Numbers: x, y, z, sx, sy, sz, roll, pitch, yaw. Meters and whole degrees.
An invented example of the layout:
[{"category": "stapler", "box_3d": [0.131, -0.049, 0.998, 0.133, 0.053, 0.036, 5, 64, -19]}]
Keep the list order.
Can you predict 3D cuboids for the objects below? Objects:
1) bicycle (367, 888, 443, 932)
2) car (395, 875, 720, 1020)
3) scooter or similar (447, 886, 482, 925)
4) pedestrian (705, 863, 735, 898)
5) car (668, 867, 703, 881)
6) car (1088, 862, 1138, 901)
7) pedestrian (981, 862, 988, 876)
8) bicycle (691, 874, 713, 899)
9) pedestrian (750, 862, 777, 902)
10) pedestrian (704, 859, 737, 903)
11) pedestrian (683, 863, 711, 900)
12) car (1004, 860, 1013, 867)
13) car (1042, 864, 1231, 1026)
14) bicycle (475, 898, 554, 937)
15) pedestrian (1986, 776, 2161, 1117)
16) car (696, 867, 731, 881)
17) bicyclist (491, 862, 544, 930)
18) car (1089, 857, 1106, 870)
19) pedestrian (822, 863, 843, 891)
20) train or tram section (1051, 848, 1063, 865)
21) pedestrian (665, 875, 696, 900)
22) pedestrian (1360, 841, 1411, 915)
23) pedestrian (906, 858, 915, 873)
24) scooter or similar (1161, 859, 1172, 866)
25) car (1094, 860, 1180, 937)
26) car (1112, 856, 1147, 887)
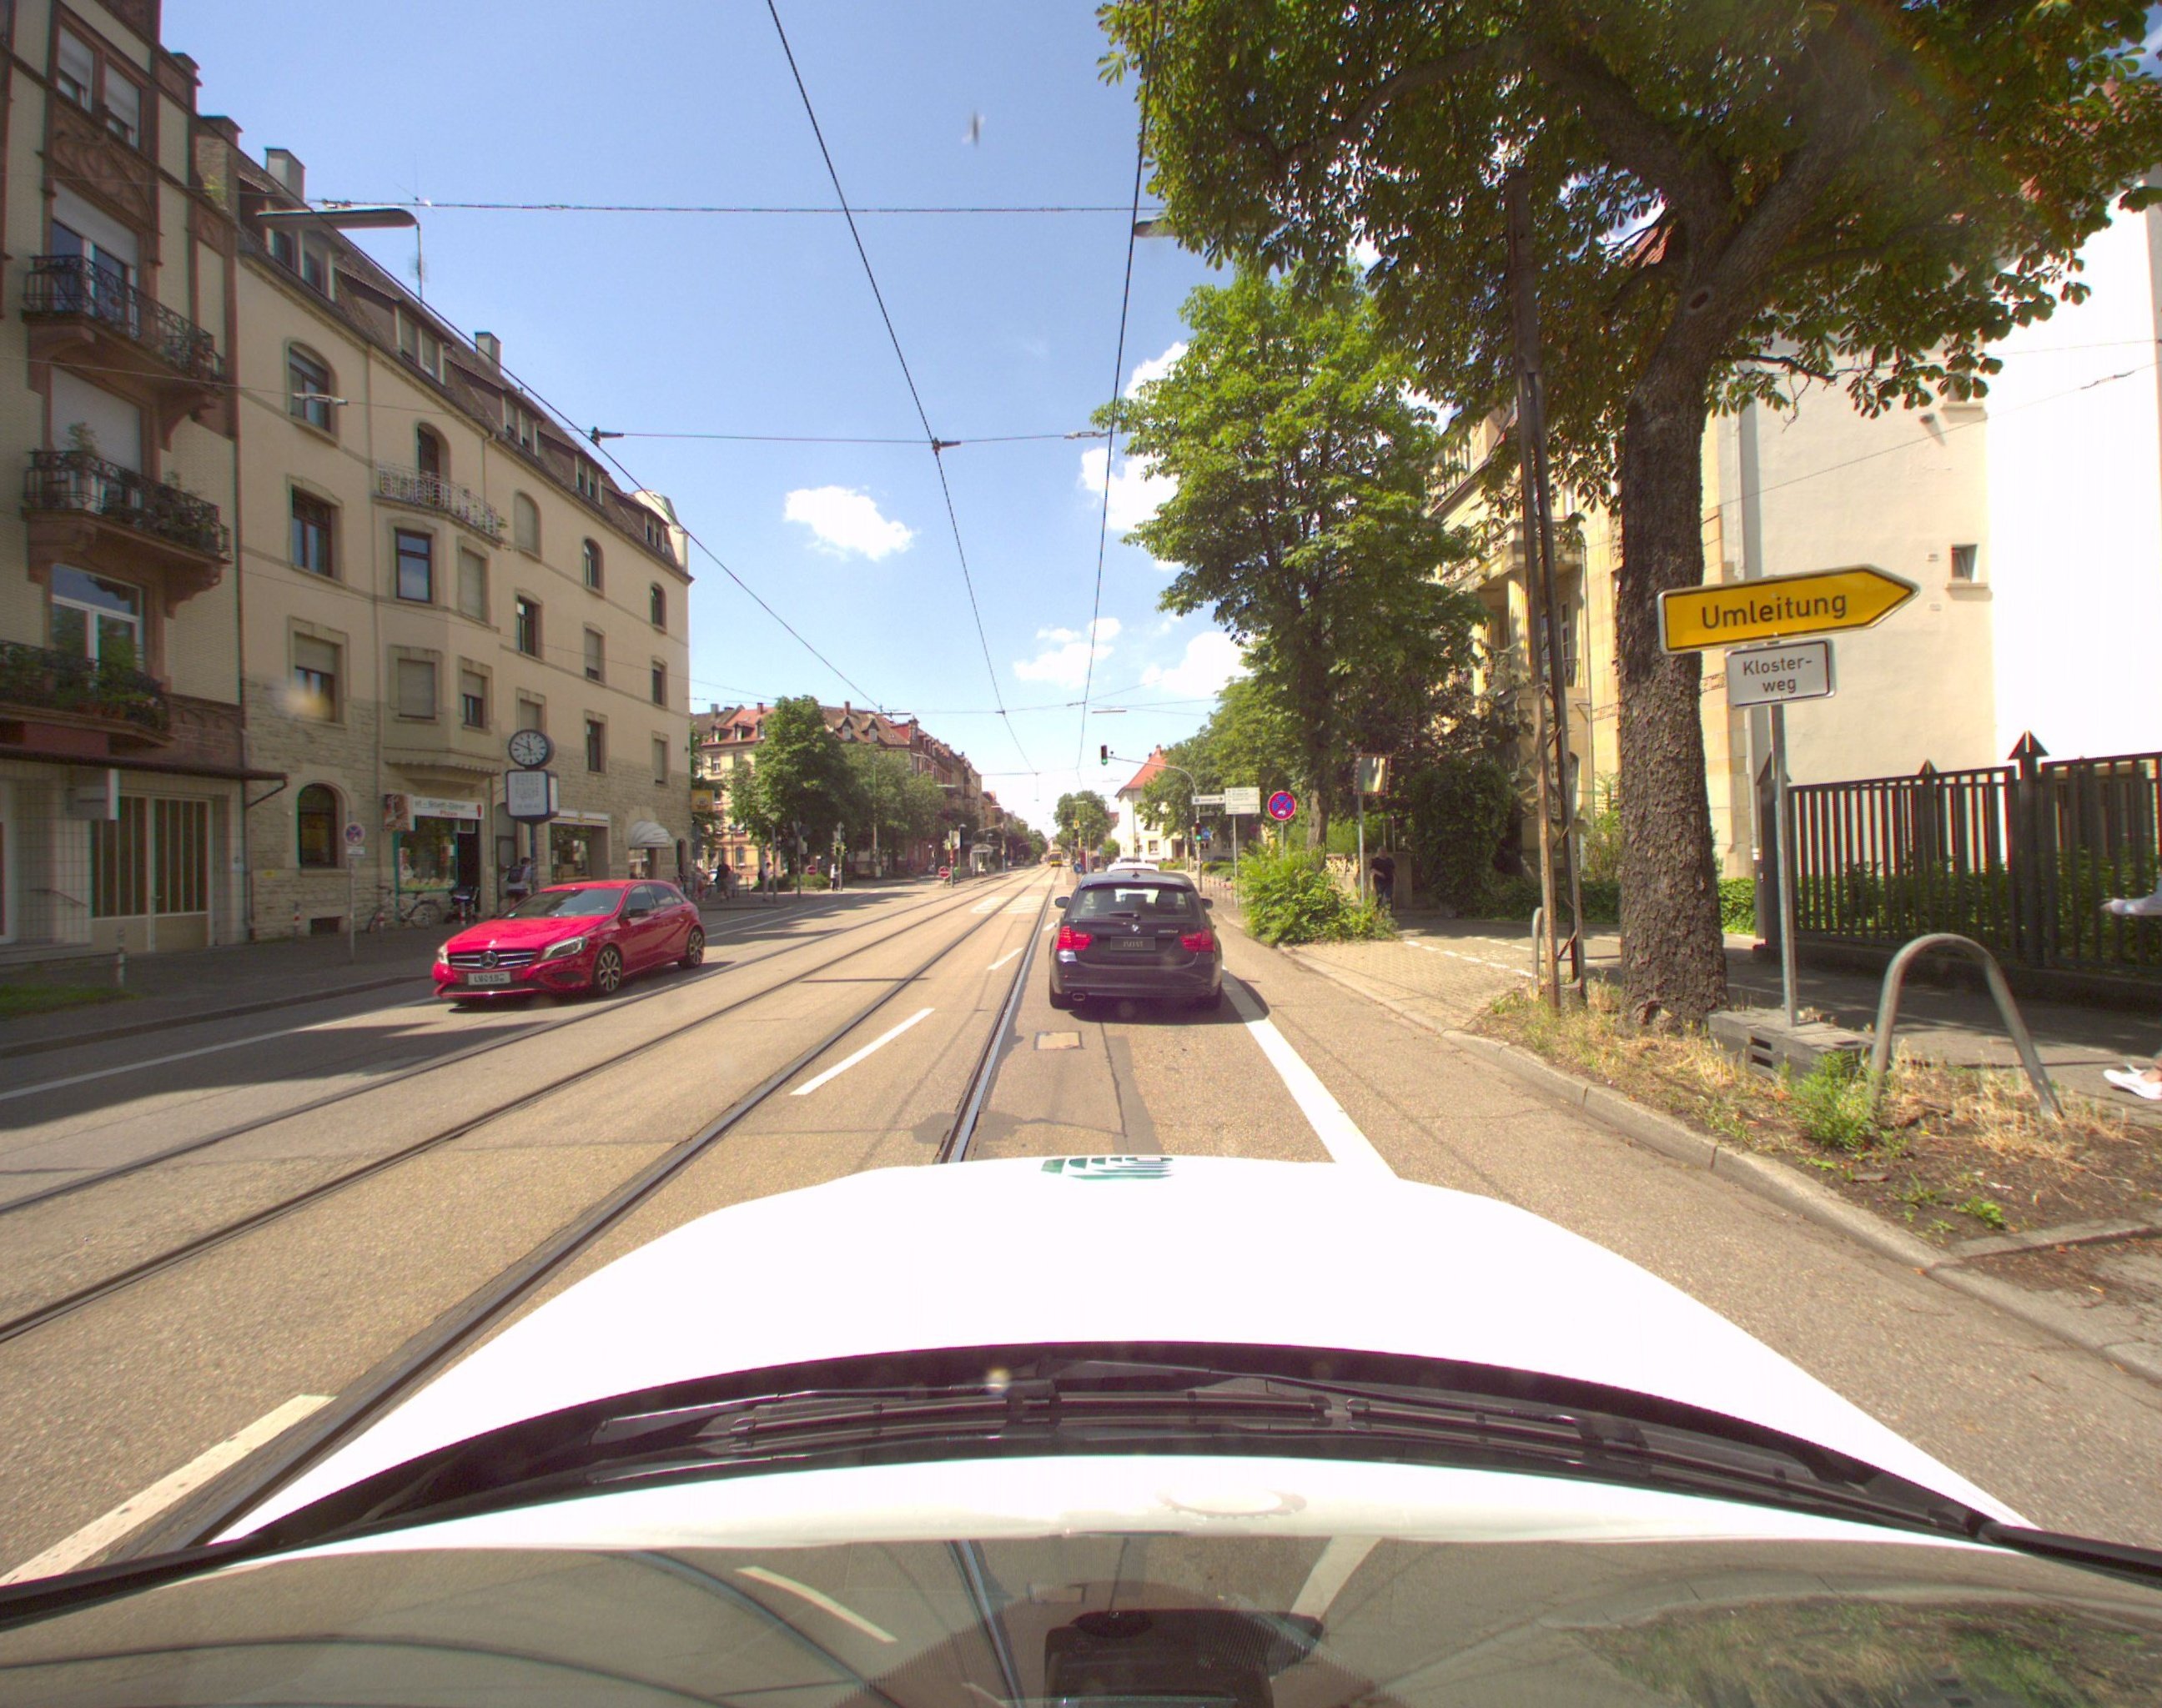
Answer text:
[{"category": "bicycle", "box_3d": [-17.190, 1.409, 20.753, 0.366, 1.066, 1.472, -1, -2, 22]}, {"category": "car", "box_3d": [-6.804, 1.091, 11.288, 1.819, 1.413, 4.422, -3, 0, -4]}, {"category": "scooter or similar", "box_3d": [-17.399, 1.443, 22.974, 0.700, 1.044, 1.195, 1, -1, -42]}, {"category": "pedestrian", "box_3d": [-17.737, 1.300, 40.044, 1.014, 1.635, 0.868, -2, -1, 25]}, {"category": "car", "box_3d": [-44.685, 2.305, 91.947, 3.429, 1.471, 1.694, -2, 0, 23]}, {"category": "car", "box_3d": [1.166, 0.992, 30.821, 1.686, 1.323, 3.820, -1, 0, 0]}, {"category": "pedestrian", "box_3d": [-8.468, 1.292, 71.270, 0.613, 1.243, 0.626, -2, -1, -7]}, {"category": "bicycle", "box_3d": [-18.255, 1.580, 39.202, 0.547, 1.128, 1.663, -1, -3, -38]}, {"category": "pedestrian", "box_3d": [-14.266, 1.247, 36.606, 0.857, 1.732, 0.775, 0, -1, 0]}, {"category": "pedestrian", "box_3d": [-15.687, 1.164, 35.487, 0.898, 1.891, 1.164, -2, 0, -2]}, {"category": "pedestrian", "box_3d": [-17.132, 1.235, 36.387, 0.805, 1.595, 0.918, -2, 0, -3]}, {"category": "car", "box_3d": [-17.431, 2.291, 195.564, 1.787, 1.586, 3.986, 0, -1, -10]}, {"category": "car", "box_3d": [0.664, 0.851, 9.731, 1.715, 1.409, 4.569, 0, 0, 4]}, {"category": "bicycle", "box_3d": [-14.051, 1.559, 20.263, 0.750, 0.817, 1.818, -2, 0, -3]}, {"category": "pedestrian", "box_3d": [5.607, 0.440, 4.194, 0.764, 1.651, 0.974, -2, 0, 0]}, {"category": "car", "box_3d": [-40.978, 2.272, 90.799, 3.429, 1.471, 1.694, -2, 0, 23]}, {"category": "bicyclist", "box_3d": [-14.061, 1.033, 20.353, 0.754, 1.663, 0.829, 0, -1, -4]}, {"category": "car", "box_3d": [2.456, 1.360, 121.425, 1.990, 1.849, 3.993, -2, 0, -5]}, {"category": "pedestrian", "box_3d": [-15.604, 1.462, 51.198, 0.908, 1.723, 0.845, -2, -1, 24]}, {"category": "train or tram section", "box_3d": [-4.866, 0.492, 167.280, 2.184, 3.482, 8.839, -2, 0, -1]}, {"category": "pedestrian", "box_3d": [-17.592, 1.464, 35.774, 0.913, 1.077, 0.882, -2, 0, 0]}, {"category": "pedestrian", "box_3d": [6.977, 0.544, 18.676, 0.852, 1.645, 0.838, -2, -1, 6]}, {"category": "pedestrian", "box_3d": [-20.690, 1.382, 98.806, 0.633, 1.811, 0.745, -2, -1, 44]}, {"category": "scooter or similar", "box_3d": [10.486, 1.047, 100.114, 1.310, 0.837, 0.525, -2, -1, -7]}, {"category": "car", "box_3d": [1.222, 0.910, 18.205, 1.678, 1.484, 3.687, -2, 0, 3]}, {"category": "car", "box_3d": [2.470, 0.879, 42.002, 1.684, 1.514, 3.824, -1, 0, 3]}]
